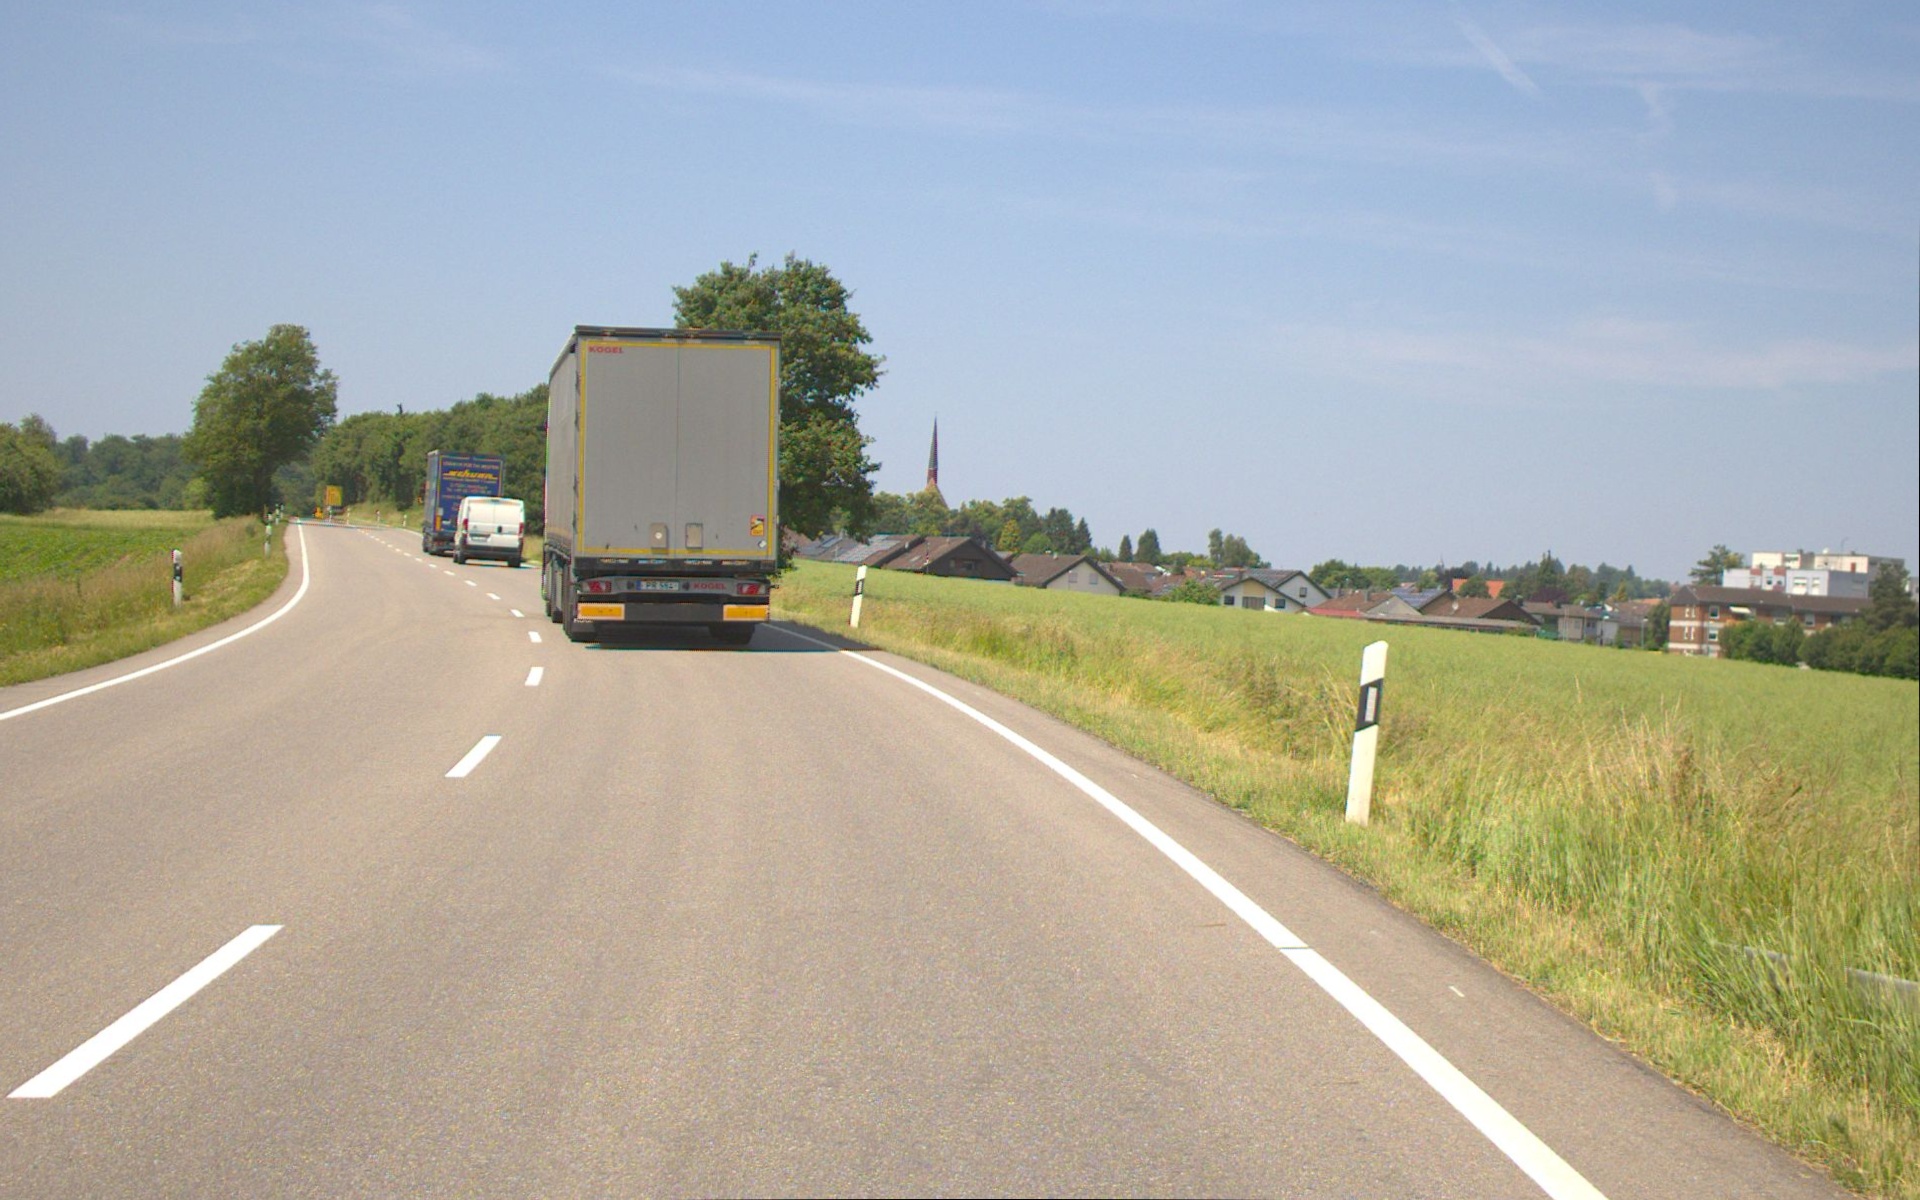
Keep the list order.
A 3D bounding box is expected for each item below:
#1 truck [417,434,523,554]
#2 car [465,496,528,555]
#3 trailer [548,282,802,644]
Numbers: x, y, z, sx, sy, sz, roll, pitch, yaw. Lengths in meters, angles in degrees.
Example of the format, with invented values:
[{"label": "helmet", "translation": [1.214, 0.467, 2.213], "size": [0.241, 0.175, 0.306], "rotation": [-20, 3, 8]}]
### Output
[{"label": "truck", "translation": [-19.510, -4.181, 138.007], "size": [3.548, 4.377, 18.126], "rotation": [2, 1, -7]}, {"label": "car", "translation": [-15.316, -2.451, 113.684], "size": [1.725, 1.866, 4.001], "rotation": [1, 1, -3]}, {"label": "trailer", "translation": [-4.277, -1.857, 48.712], "size": [2.866, 4.385, 13.497], "rotation": [0, 2, -8]}]
